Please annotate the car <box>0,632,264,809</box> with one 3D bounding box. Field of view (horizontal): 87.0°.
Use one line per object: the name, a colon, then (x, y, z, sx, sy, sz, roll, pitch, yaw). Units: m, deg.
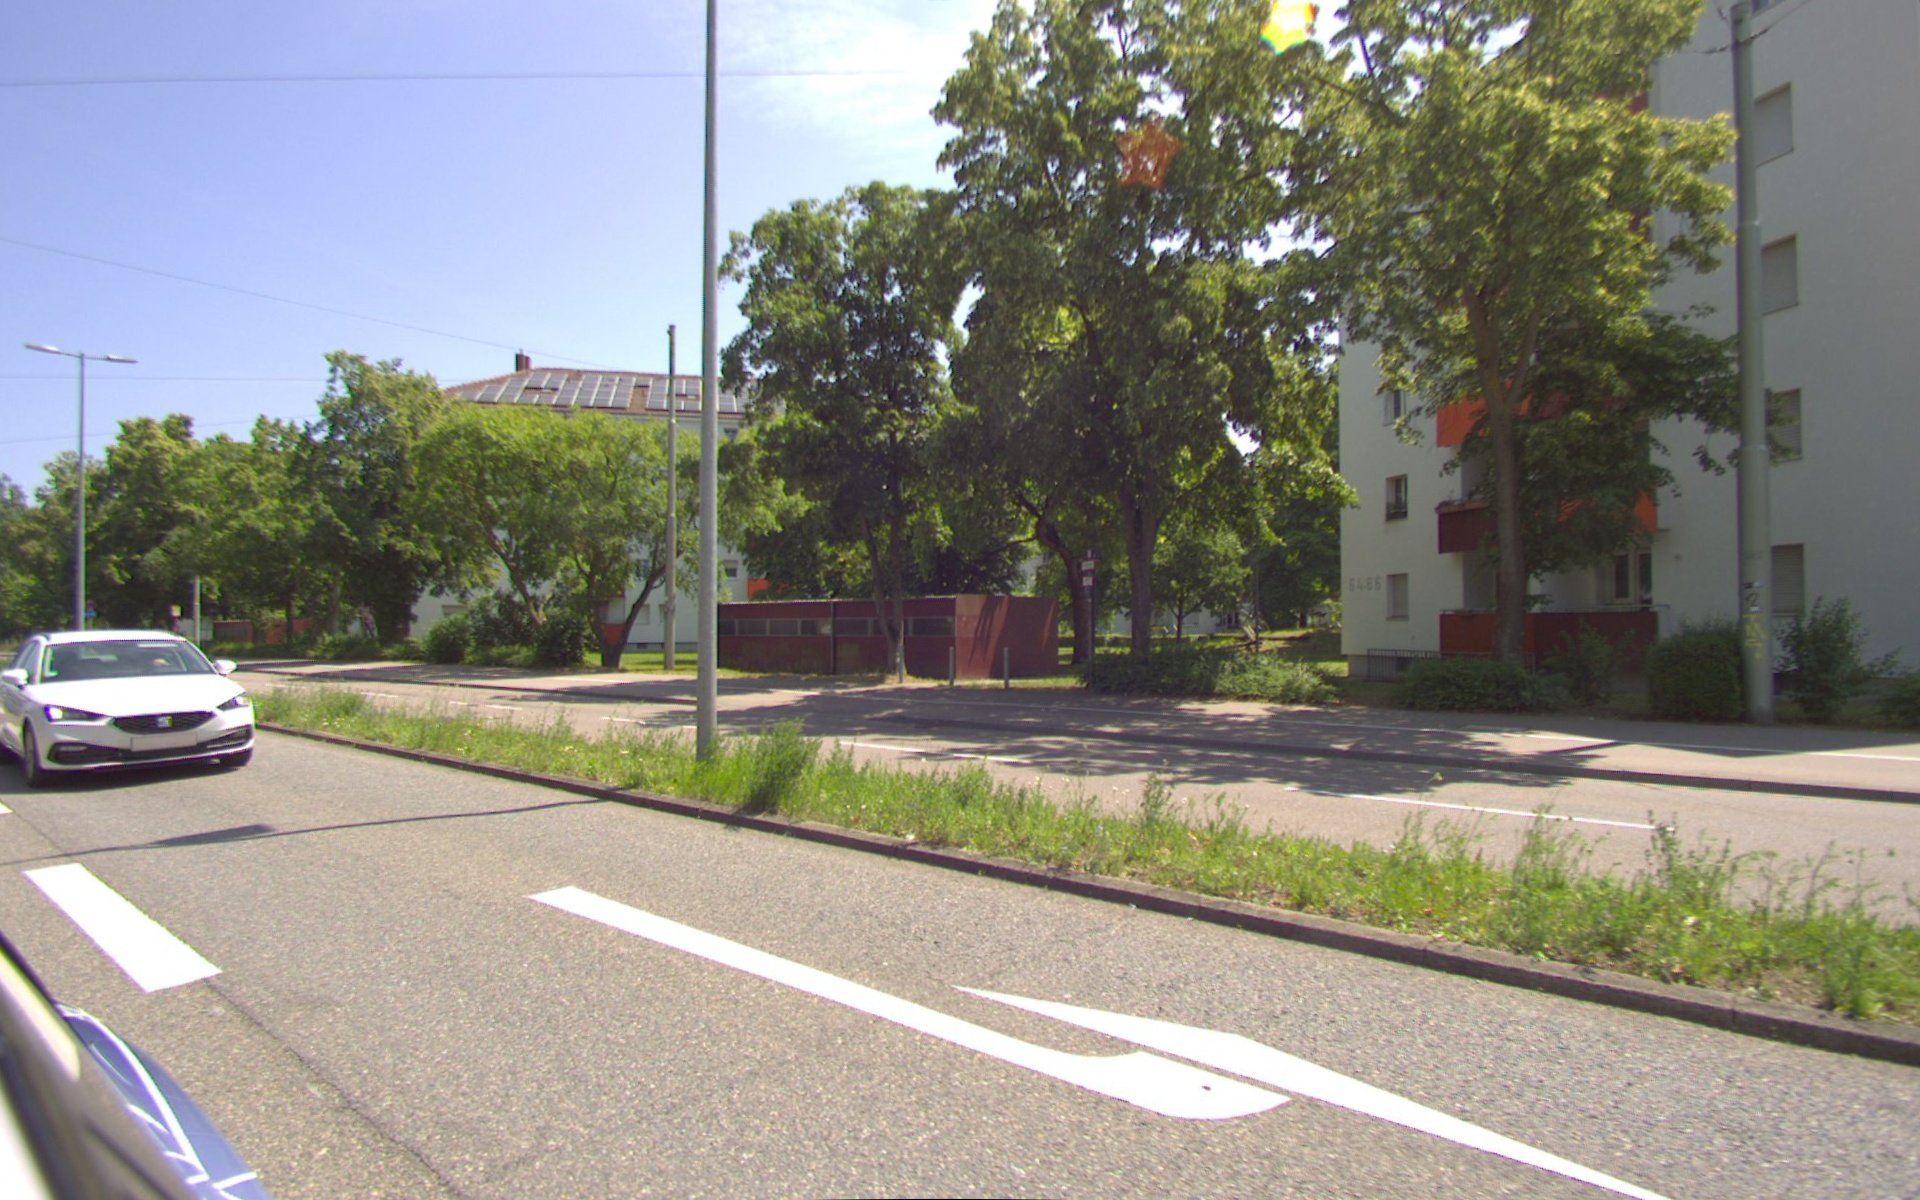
car: (-9.095, 1.117, 10.801, 4.109, 1.479, 1.749, -2, -1, 41)
